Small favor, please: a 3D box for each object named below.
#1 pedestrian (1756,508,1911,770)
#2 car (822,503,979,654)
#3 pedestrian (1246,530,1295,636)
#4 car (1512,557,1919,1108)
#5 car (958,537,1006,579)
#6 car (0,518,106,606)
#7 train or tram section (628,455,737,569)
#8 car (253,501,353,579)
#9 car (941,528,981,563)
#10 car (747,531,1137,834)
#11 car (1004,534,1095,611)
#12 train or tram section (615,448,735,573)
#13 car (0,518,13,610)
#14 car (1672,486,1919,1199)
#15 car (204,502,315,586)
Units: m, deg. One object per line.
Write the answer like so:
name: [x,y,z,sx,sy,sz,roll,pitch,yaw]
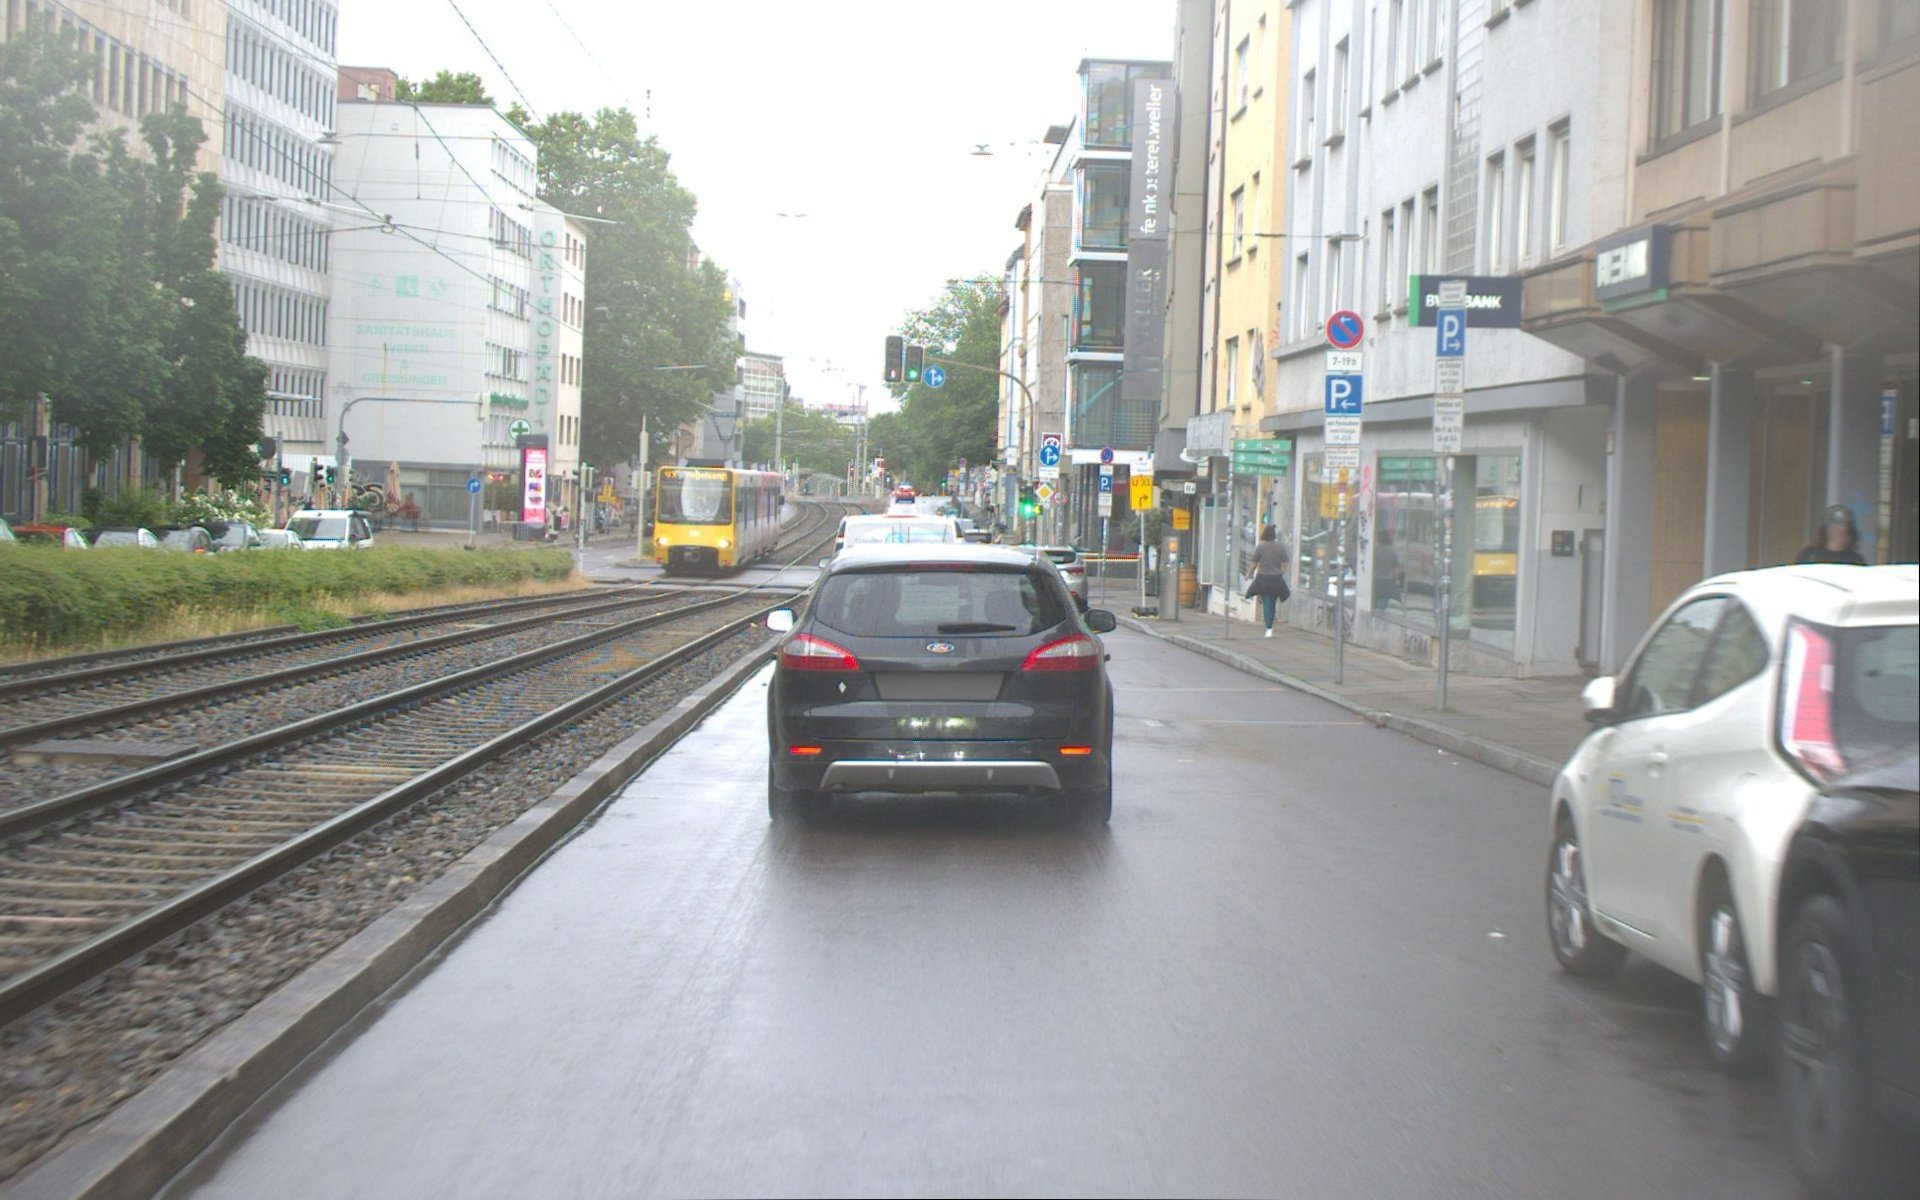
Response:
pedestrian: [5.628,0.240,22.191,0.695,1.646,0.966,1,1,-2]
car: [-0.743,-0.283,46.042,1.906,1.858,4.574,2,0,1]
pedestrian: [4.568,-0.254,50.555,0.611,1.532,0.649,1,1,-2]
car: [2.868,0.617,11.064,1.557,1.471,3.566,1,1,0]
car: [0.888,-1.705,139.859,1.906,1.628,4.574,2,0,0]
car: [-15.661,-0.660,58.270,1.568,1.431,4.178,1,1,-4]
train or tram section: [-9.787,-3.068,122.287,3.538,3.764,11.333,1,1,-3]
car: [-16.577,-1.493,86.905,1.906,1.858,4.574,2,0,-4]
car: [0.059,-2.716,171.548,1.906,1.628,4.574,2,0,0]
car: [-0.102,0.401,18.848,1.906,1.457,3.445,2,0,0]
car: [1.999,-0.619,77.960,1.906,1.628,4.574,2,0,0]
train or tram section: [-9.111,-2.833,110.994,3.512,3.764,11.333,1,1,-3]
car: [-15.617,-0.559,52.163,1.568,1.431,4.178,1,1,-4]
car: [2.846,0.609,6.443,1.807,1.626,5.170,1,1,-1]
car: [-16.292,-1.280,80.185,1.906,1.858,4.574,2,0,-4]
